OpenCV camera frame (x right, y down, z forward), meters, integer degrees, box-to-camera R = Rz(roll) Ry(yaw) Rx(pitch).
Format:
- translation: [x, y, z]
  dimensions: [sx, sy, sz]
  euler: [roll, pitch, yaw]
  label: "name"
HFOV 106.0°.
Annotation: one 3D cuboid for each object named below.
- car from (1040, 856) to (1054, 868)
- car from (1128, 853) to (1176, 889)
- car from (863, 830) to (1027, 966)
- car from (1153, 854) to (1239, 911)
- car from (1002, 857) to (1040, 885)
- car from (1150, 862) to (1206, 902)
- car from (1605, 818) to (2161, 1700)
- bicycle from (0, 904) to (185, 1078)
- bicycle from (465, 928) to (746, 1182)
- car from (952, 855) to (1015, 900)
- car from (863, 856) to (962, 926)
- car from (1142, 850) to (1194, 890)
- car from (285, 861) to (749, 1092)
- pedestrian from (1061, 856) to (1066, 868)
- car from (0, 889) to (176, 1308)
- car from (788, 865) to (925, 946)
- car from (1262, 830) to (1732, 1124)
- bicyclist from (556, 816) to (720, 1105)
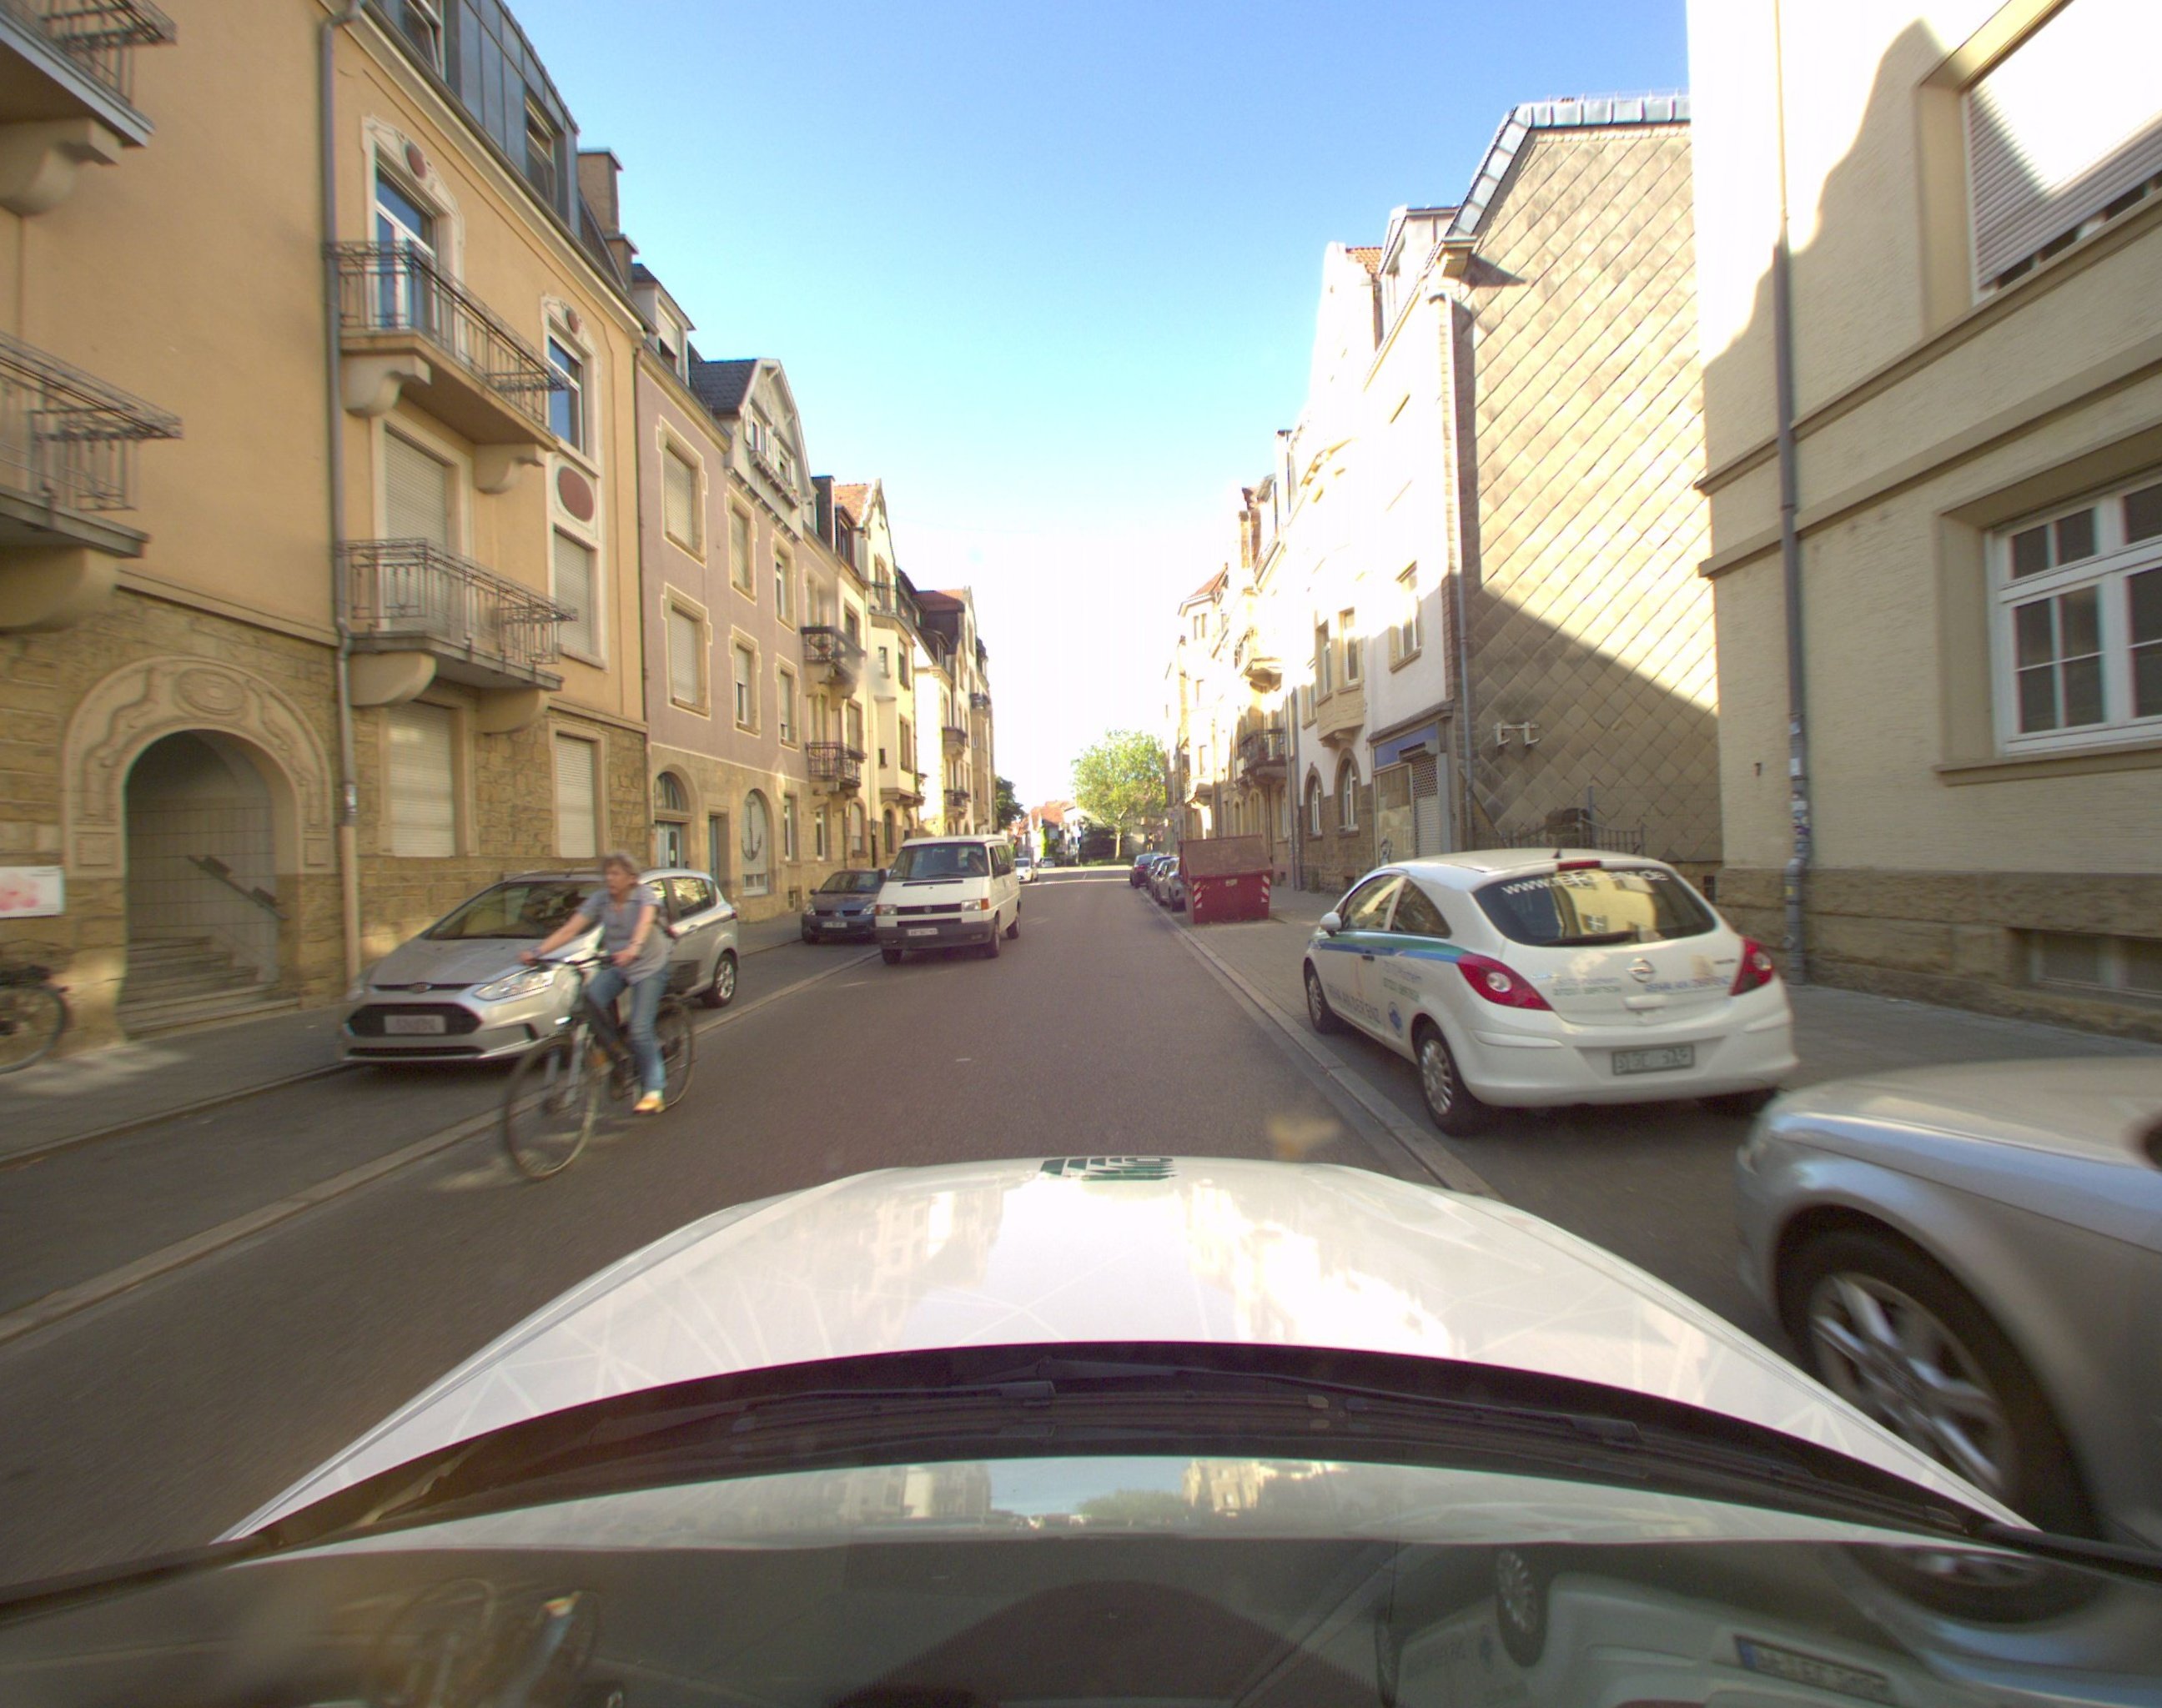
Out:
- translation: [-4.537, 1.106, 108.955]
  dimensions: [1.671, 1.483, 3.516]
  euler: [-1, -1, -4]
  label: "car"
- translation: [3.231, 0.746, 37.758]
  dimensions: [1.859, 1.462, 4.340]
  euler: [-2, 0, 1]
  label: "car"
- translation: [-2.159, 0.644, 14.279]
  dimensions: [1.856, 1.937, 4.602]
  euler: [-2, 0, 2]
  label: "car"
- translation: [3.163, 0.743, 23.106]
  dimensions: [1.781, 1.429, 3.805]
  euler: [-2, 0, -2]
  label: "car"
- translation: [-3.449, 0.962, 47.542]
  dimensions: [1.626, 1.464, 3.739]
  euler: [-2, 0, 4]
  label: "car"
- translation: [3.267, 0.938, 28.031]
  dimensions: [1.685, 1.255, 3.944]
  euler: [1, -1, 4]
  label: "car"
- translation: [2.593, 0.655, 0.721]
  dimensions: [1.647, 1.464, 4.095]
  euler: [-3, 0, 1]
  label: "car"
- translation: [-8.036, 1.018, 6.020]
  dimensions: [0.696, 1.172, 1.853]
  euler: [-2, 0, 3]
  label: "bicycle"
- translation: [-2.729, 1.077, 4.935]
  dimensions: [0.538, 1.076, 1.801]
  euler: [-2, 0, 3]
  label: "bicycle"
- translation: [-4.046, 0.909, 34.398]
  dimensions: [1.884, 1.722, 4.728]
  euler: [1, 0, 2]
  label: "car"
- translation: [-4.208, 0.866, 20.954]
  dimensions: [1.709, 1.583, 4.020]
  euler: [1, 0, 0]
  label: "car"
- translation: [3.468, 0.594, 33.028]
  dimensions: [1.645, 1.442, 4.259]
  euler: [-3, 0, 1]
  label: "car"
- translation: [-4.762, 0.888, 7.646]
  dimensions: [1.709, 1.538, 3.723]
  euler: [-2, 0, 0]
  label: "car"
- translation: [-2.545, 1.124, 116.211]
  dimensions: [0.631, 1.750, 0.659]
  euler: [-1, -1, -1]
  label: "pedestrian"
- translation: [-4.892, 0.951, 1.520]
  dimensions: [1.709, 1.521, 4.110]
  euler: [-3, 0, 1]
  label: "car"
- translation: [-4.492, 0.969, 16.836]
  dimensions: [1.666, 1.393, 3.668]
  euler: [1, 0, 2]
  label: "car"
- translation: [2.590, 0.641, 6.112]
  dimensions: [1.581, 1.464, 3.711]
  euler: [-3, 0, 0]
  label: "car"
- translation: [-2.725, 0.620, 5.068]
  dimensions: [0.605, 1.665, 0.632]
  euler: [-2, 0, 2]
  label: "bicyclist"
